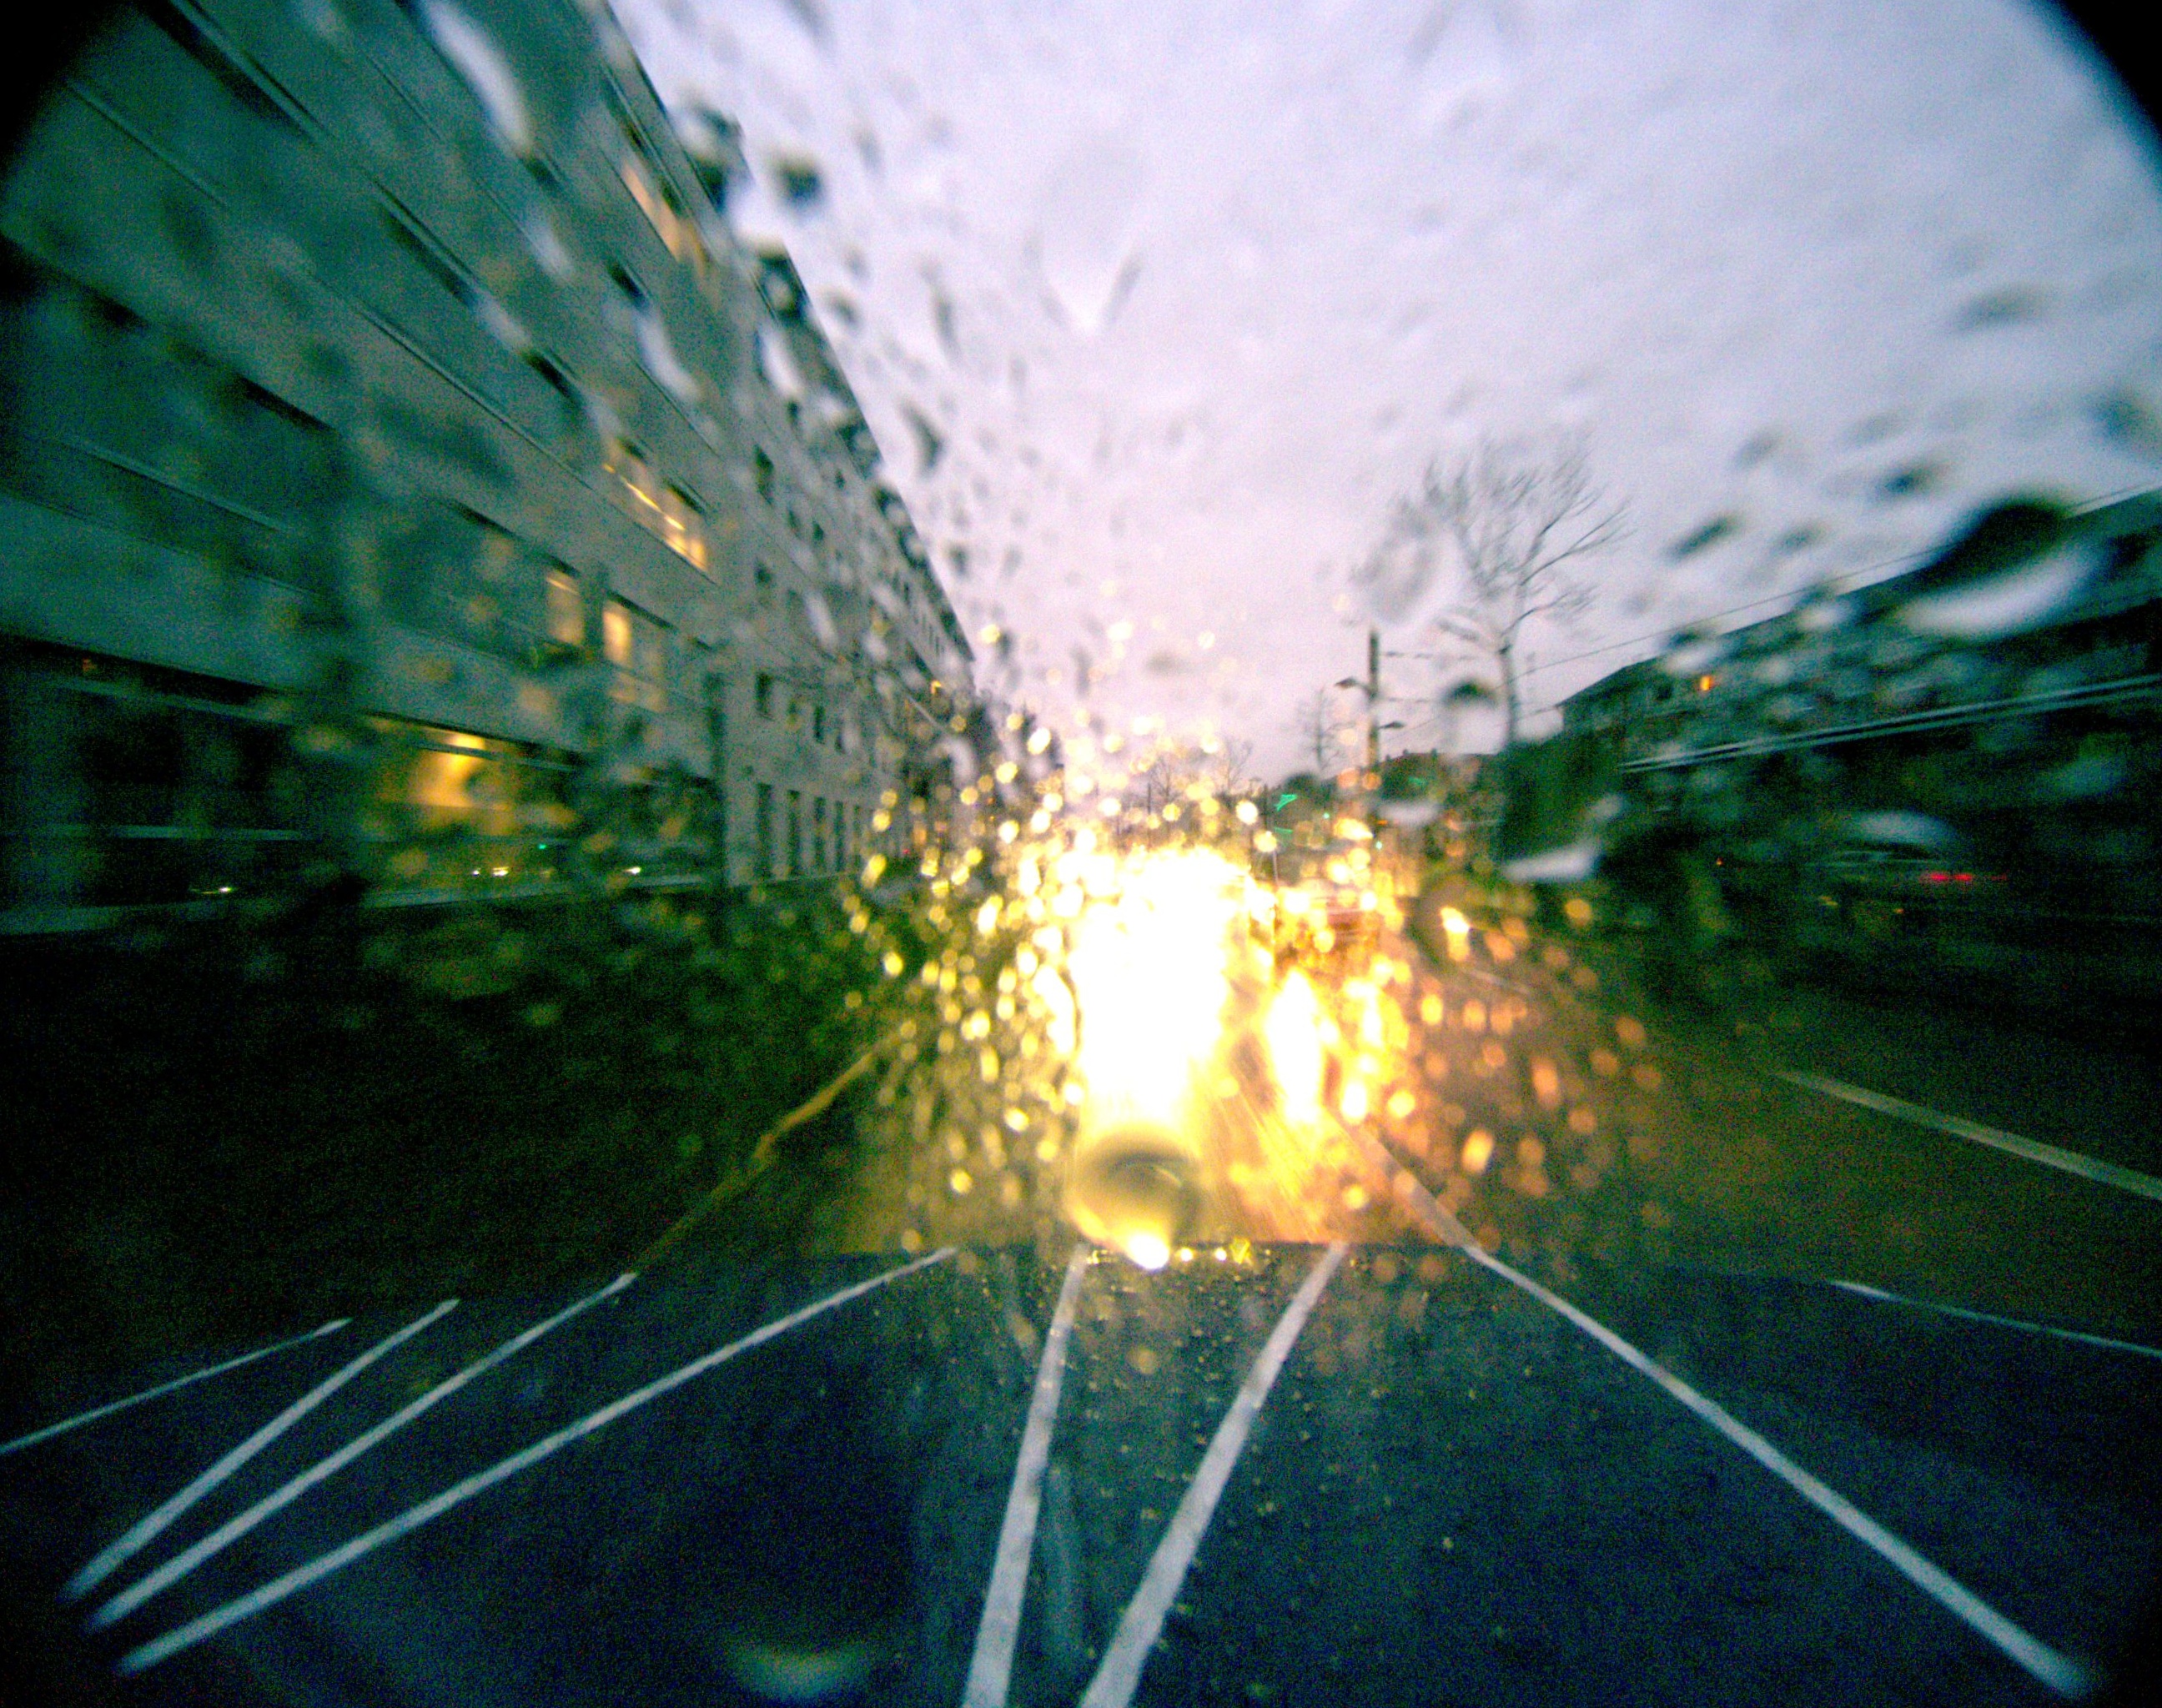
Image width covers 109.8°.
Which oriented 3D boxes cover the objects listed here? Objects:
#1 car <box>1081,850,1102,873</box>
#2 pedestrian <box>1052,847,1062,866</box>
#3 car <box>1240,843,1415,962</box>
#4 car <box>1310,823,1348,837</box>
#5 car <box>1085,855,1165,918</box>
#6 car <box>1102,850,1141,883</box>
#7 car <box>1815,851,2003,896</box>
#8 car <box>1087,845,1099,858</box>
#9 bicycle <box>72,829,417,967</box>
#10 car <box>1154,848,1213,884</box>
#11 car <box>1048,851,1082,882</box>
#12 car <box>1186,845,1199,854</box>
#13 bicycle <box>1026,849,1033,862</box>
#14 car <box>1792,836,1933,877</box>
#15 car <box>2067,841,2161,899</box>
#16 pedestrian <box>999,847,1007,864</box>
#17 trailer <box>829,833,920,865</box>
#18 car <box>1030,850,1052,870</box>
[{"bbox_3d":[0.908,0.590,61.333,1.610,1.666,3.685,-1,2,2],"label":"car"},{"bbox_3d":[-2.383,0.257,75.354,0.773,1.798,0.698,4,2,-5],"label":"pedestrian"},{"bbox_3d":[4.030,0.691,13.147,2.020,1.668,4.000,-1,2,5],"label":"car"},{"bbox_3d":[42.656,-4.160,130.885,5.893,2.242,1.825,0,2,32],"label":"car"},{"bbox_3d":[1.034,0.764,19.611,1.757,1.418,3.803,-1,0,-1],"label":"car"},{"bbox_3d":[2.081,0.613,40.207,1.764,1.520,3.733,-2,2,-1],"label":"car"},{"bbox_3d":[27.934,0.599,25.871,1.784,1.285,4.213,-2,2,0],"label":"car"},{"bbox_3d":[1.567,-0.354,104.124,1.493,1.585,3.998,-2,2,-1],"label":"car"},{"bbox_3d":[-9.133,0.424,8.518,0.823,1.266,2.461,4,1,15],"label":"bicycle"},{"bbox_3d":[4.589,0.507,34.666,1.976,1.492,4.090,-2,0,-2],"label":"car"},{"bbox_3d":[-0.810,0.587,37.574,1.595,1.386,3.486,1,0,-2],"label":"car"},{"bbox_3d":[20.555,-0.832,140.147,1.527,1.630,3.747,0,1,-3],"label":"car"},{"bbox_3d":[-4.488,0.122,66.601,0.552,1.109,2.165,1,2,-2],"label":"bicycle"},{"bbox_3d":[32.341,0.053,31.626,1.729,1.535,4.150,-1,2,3],"label":"car"},{"bbox_3d":[32.603,0.475,22.396,1.729,1.636,4.150,-1,2,1],"label":"car"},{"bbox_3d":[-7.953,0.170,77.451,0.739,1.726,0.702,-2,2,-4],"label":"pedestrian"},{"bbox_3d":[-12.961,-0.273,47.859,5.078,1.900,2.131,0,-1,4],"label":"trailer"},{"bbox_3d":[-3.120,0.446,60.160,1.600,1.432,4.226,-2,2,-2],"label":"car"}]
